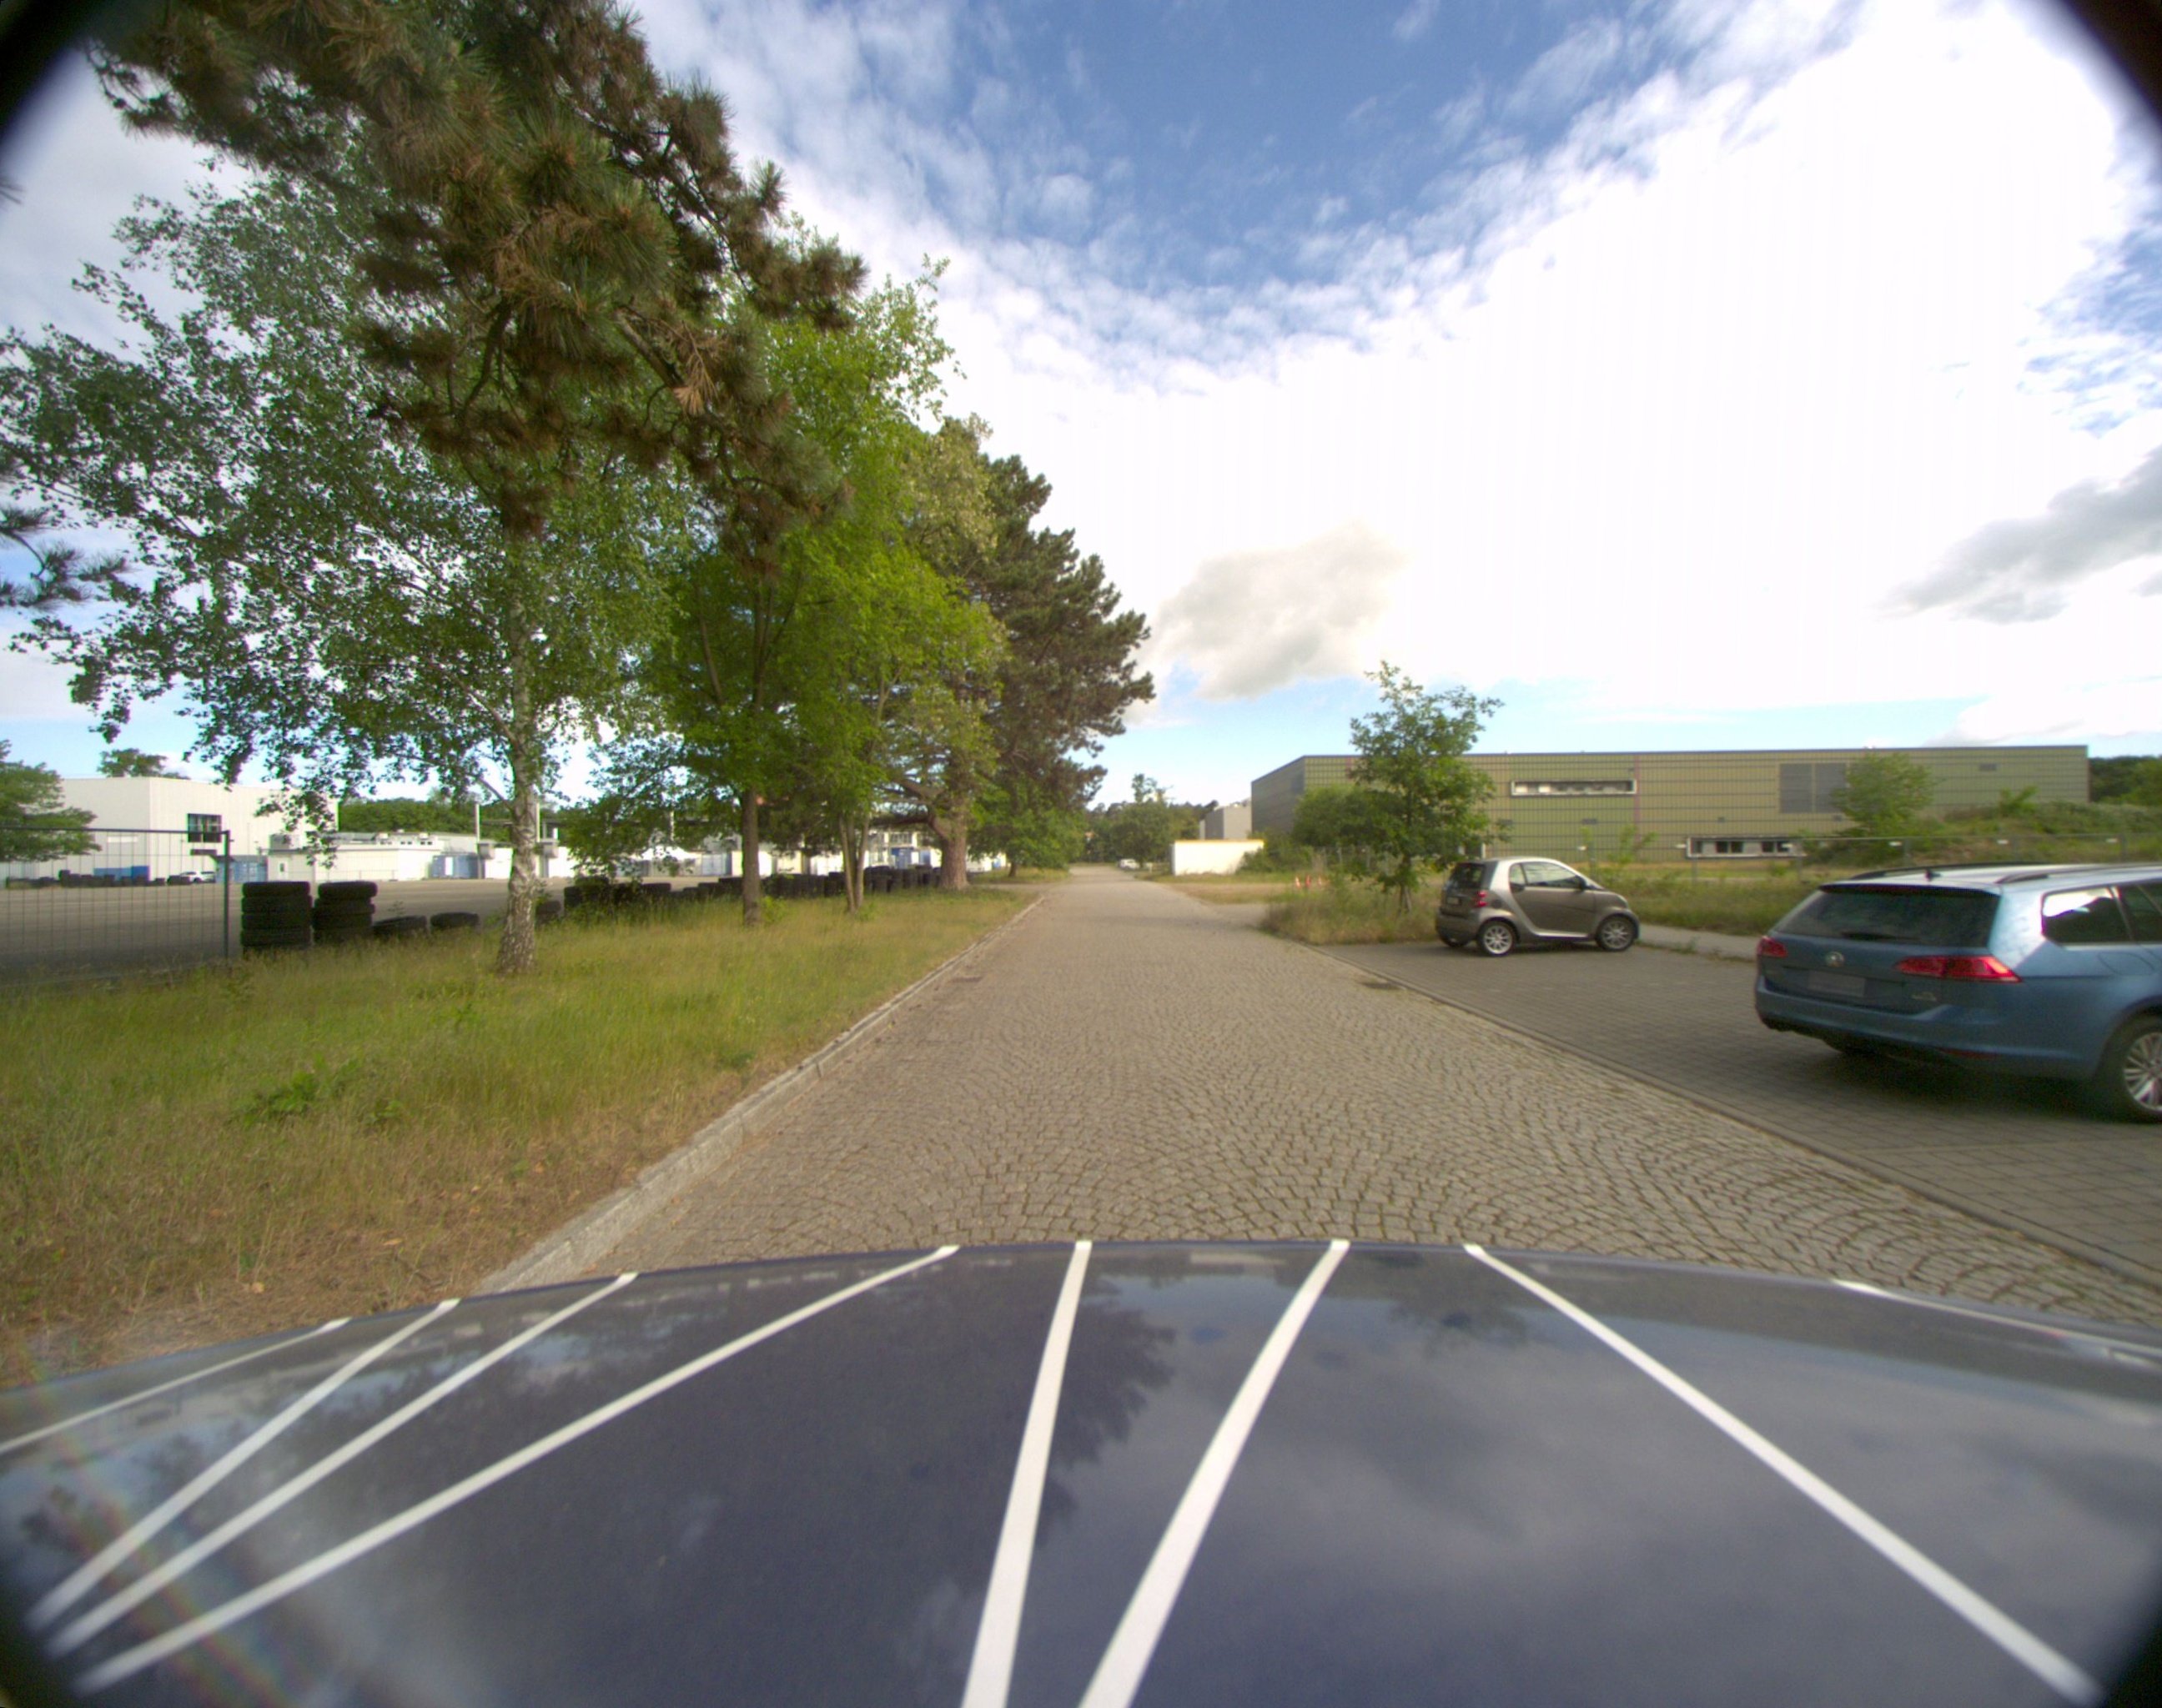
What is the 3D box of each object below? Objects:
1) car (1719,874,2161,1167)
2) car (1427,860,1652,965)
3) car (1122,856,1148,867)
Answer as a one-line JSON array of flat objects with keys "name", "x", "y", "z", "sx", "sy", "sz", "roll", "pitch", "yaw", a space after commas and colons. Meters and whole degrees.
[{"name": "car", "x": 7.160, "y": 0.921, "z": 5.097, "sx": 4.317, "sy": 1.420, "sz": 1.773, "roll": -2, "pitch": 0, "yaw": -2}, {"name": "car", "x": 7.382, "y": 0.900, "z": 12.428, "sx": 2.661, "sy": 1.502, "sz": 1.610, "roll": -2, "pitch": 0, "yaw": 0}, {"name": "car", "x": 8.541, "y": 1.167, "z": 119.656, "sx": 3.996, "sy": 1.604, "sz": 1.798, "roll": 0, "pitch": 0, "yaw": 4}]
